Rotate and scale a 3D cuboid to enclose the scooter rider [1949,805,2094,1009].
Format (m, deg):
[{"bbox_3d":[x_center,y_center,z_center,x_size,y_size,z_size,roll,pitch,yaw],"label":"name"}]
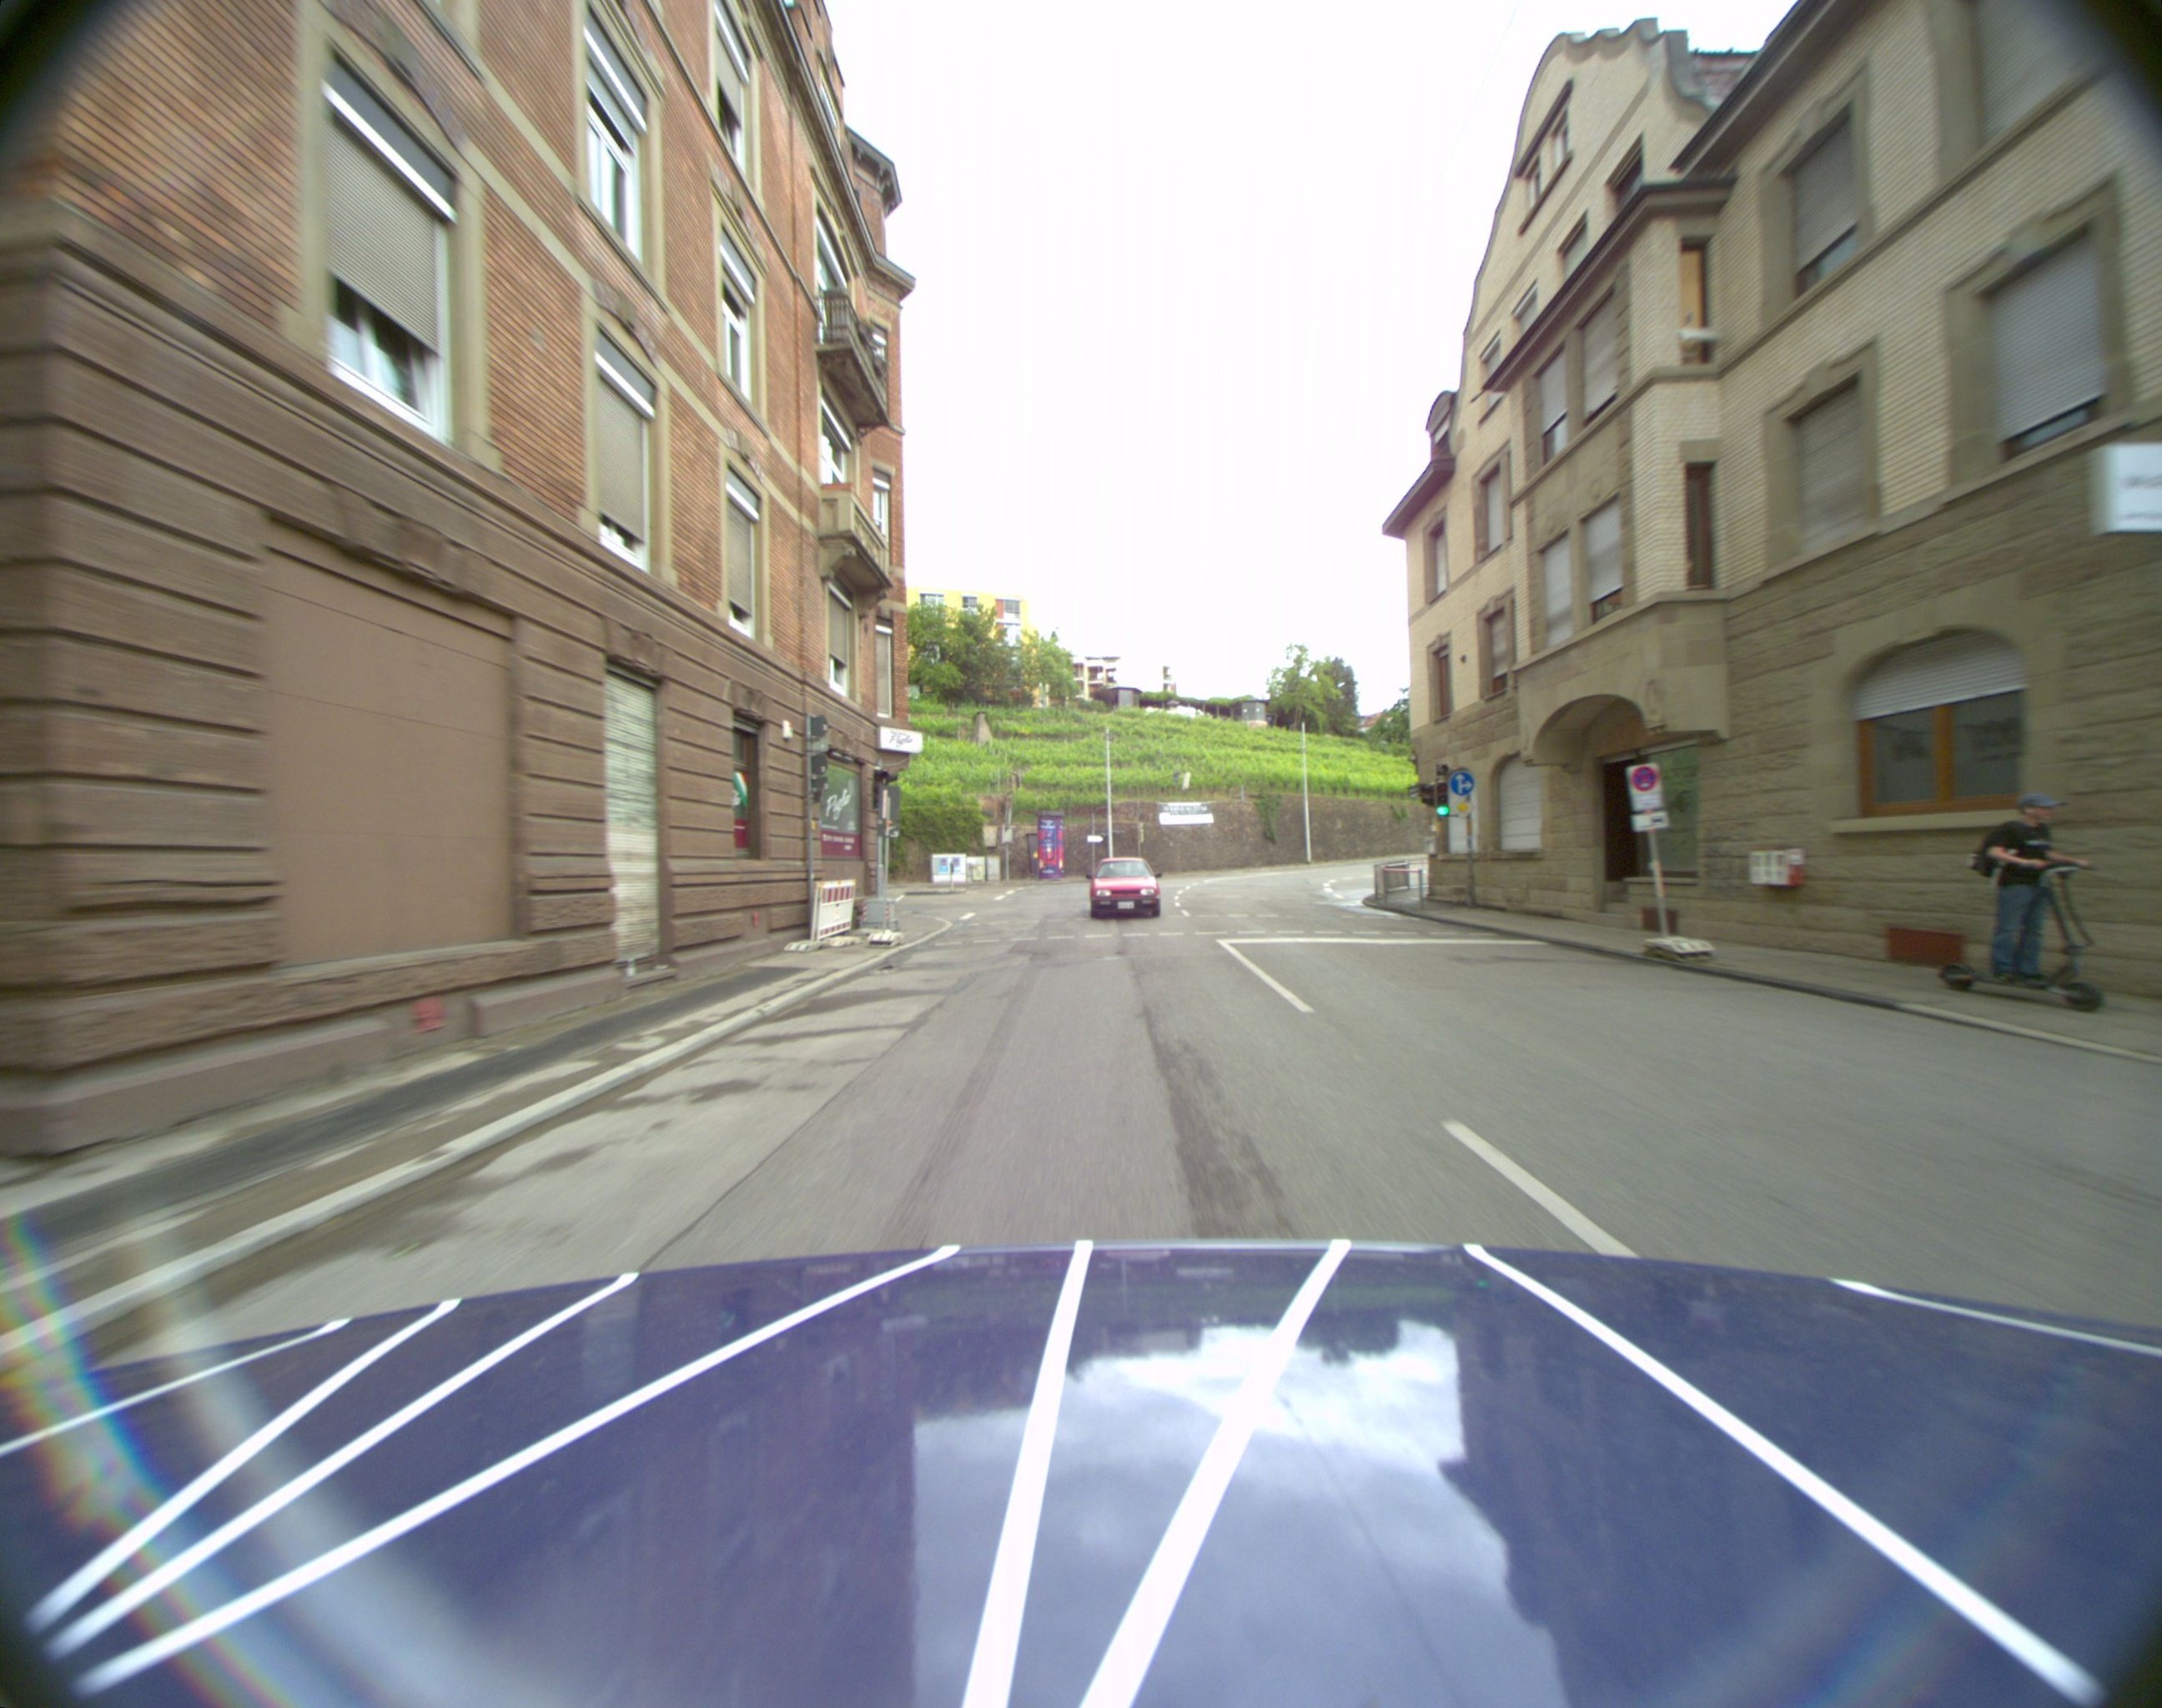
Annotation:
[{"bbox_3d":[8.286,0.448,6.714,0.489,1.695,0.577,-3,1,0],"label":"scooter rider"}]

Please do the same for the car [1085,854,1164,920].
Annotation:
[{"bbox_3d":[1.000,0.762,19.274,1.646,1.430,4.000,-3,0,-1],"label":"car"}]

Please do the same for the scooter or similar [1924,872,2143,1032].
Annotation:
[{"bbox_3d":[8.304,0.803,6.694,0.379,1.234,1.226,-3,0,2],"label":"scooter or similar"}]
